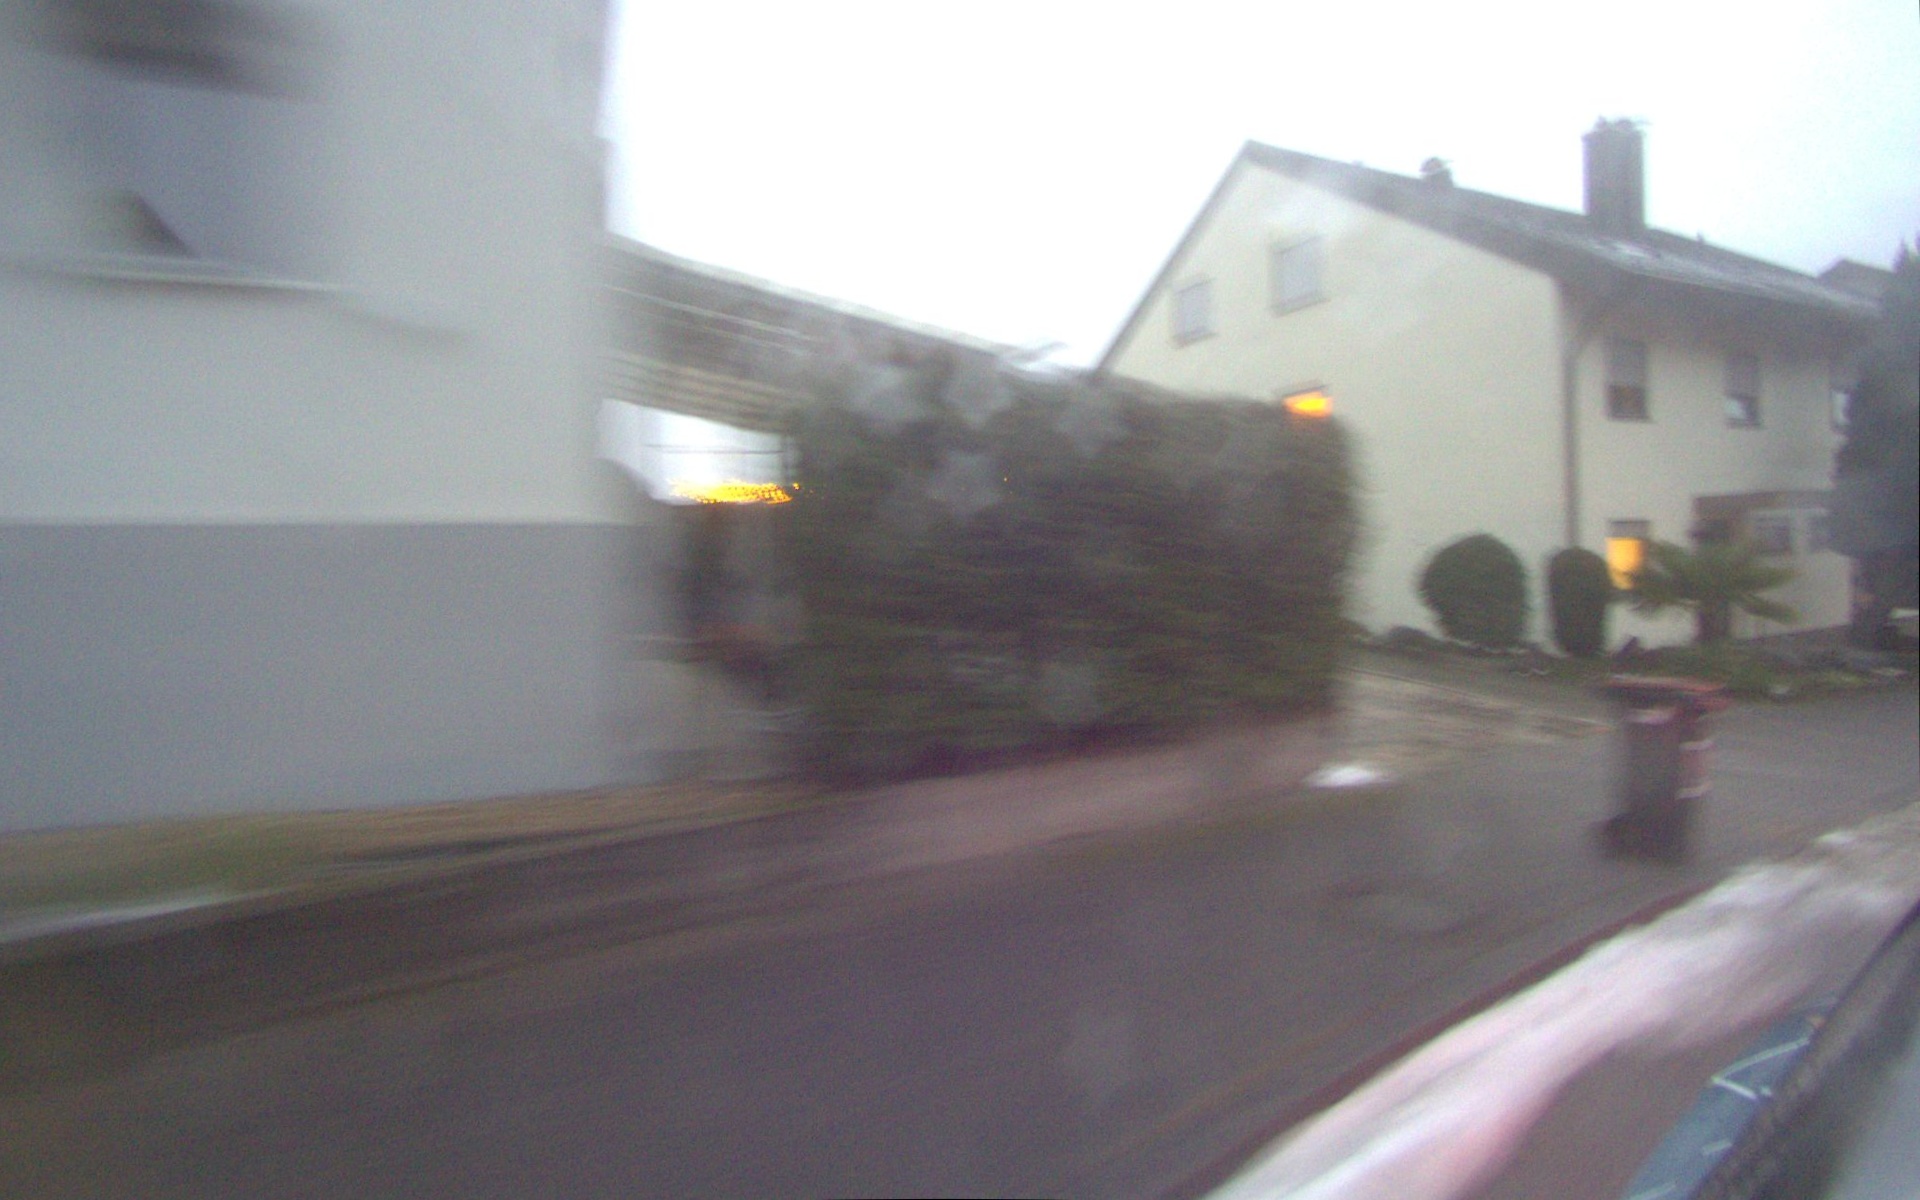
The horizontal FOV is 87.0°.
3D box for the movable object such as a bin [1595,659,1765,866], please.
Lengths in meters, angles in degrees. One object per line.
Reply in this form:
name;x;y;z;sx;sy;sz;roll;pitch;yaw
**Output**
movable object such as a bin;3.788;0.812;5.325;0.676;0.950;0.539;0;0;-36
